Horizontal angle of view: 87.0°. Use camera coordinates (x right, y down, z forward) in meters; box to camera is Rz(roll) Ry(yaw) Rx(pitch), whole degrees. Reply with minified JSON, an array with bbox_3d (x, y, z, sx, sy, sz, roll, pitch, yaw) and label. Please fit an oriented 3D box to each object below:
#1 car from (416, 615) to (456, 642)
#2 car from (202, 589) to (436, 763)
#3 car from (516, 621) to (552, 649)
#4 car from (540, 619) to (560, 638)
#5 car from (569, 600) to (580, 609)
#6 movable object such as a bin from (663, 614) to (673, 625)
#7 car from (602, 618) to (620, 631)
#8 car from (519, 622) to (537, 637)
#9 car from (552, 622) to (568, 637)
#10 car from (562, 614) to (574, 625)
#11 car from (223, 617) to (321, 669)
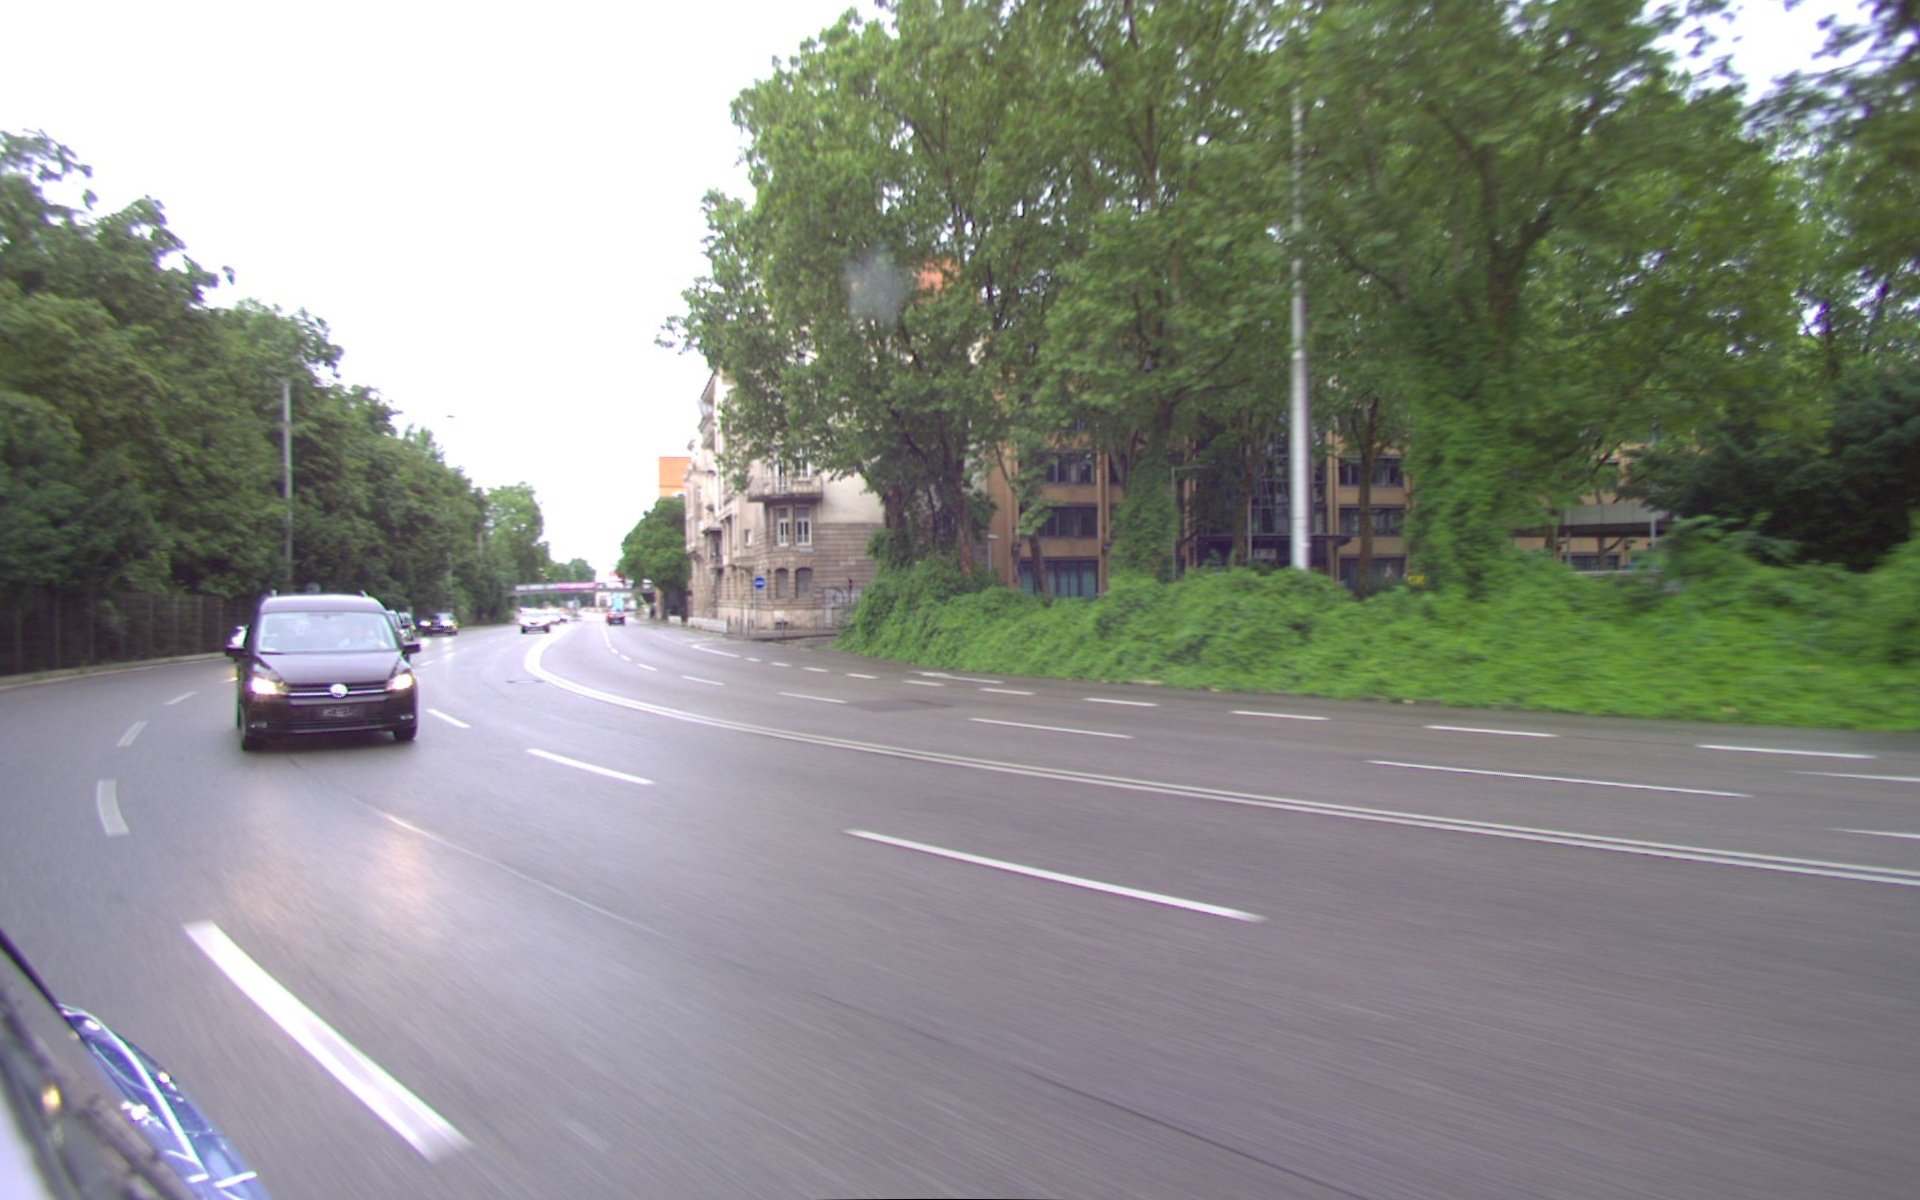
[{"bbox_3d":[-35.008,1.880,67.696,1.772,1.608,4.013,-3,1,-19],"label":"car"},{"bbox_3d":[-8.082,0.838,12.611,1.815,1.805,4.005,1,-2,-42],"label":"car"},{"bbox_3d":[-30.454,2.478,72.472,1.675,1.811,3.812,-3,1,-13],"label":"car"},{"bbox_3d":[-48.135,3.325,118.937,1.966,1.918,4.013,-3,1,-20],"label":"car"},{"bbox_3d":[-74.479,0.807,195.378,1.794,1.624,4.013,-3,1,-19],"label":"car"},{"bbox_3d":[-40.143,2.711,139.236,1.053,1.447,1.377,-3,0,-25],"label":"movable object such as a bin"},{"bbox_3d":[-37.085,2.619,107.483,1.677,1.349,3.928,-1,-1,-22],"label":"car"},{"bbox_3d":[-54.755,3.730,128.441,1.847,1.785,4.013,-3,1,-20],"label":"car"},{"bbox_3d":[-55.495,4.087,140.357,1.847,1.785,4.013,-3,1,-20],"label":"car"},{"bbox_3d":[-68.249,3.382,176.196,1.847,1.785,4.013,-3,1,-20],"label":"car"},{"bbox_3d":[-21.695,1.310,32.056,1.702,1.450,4.013,-2,0,-22],"label":"car"}]
